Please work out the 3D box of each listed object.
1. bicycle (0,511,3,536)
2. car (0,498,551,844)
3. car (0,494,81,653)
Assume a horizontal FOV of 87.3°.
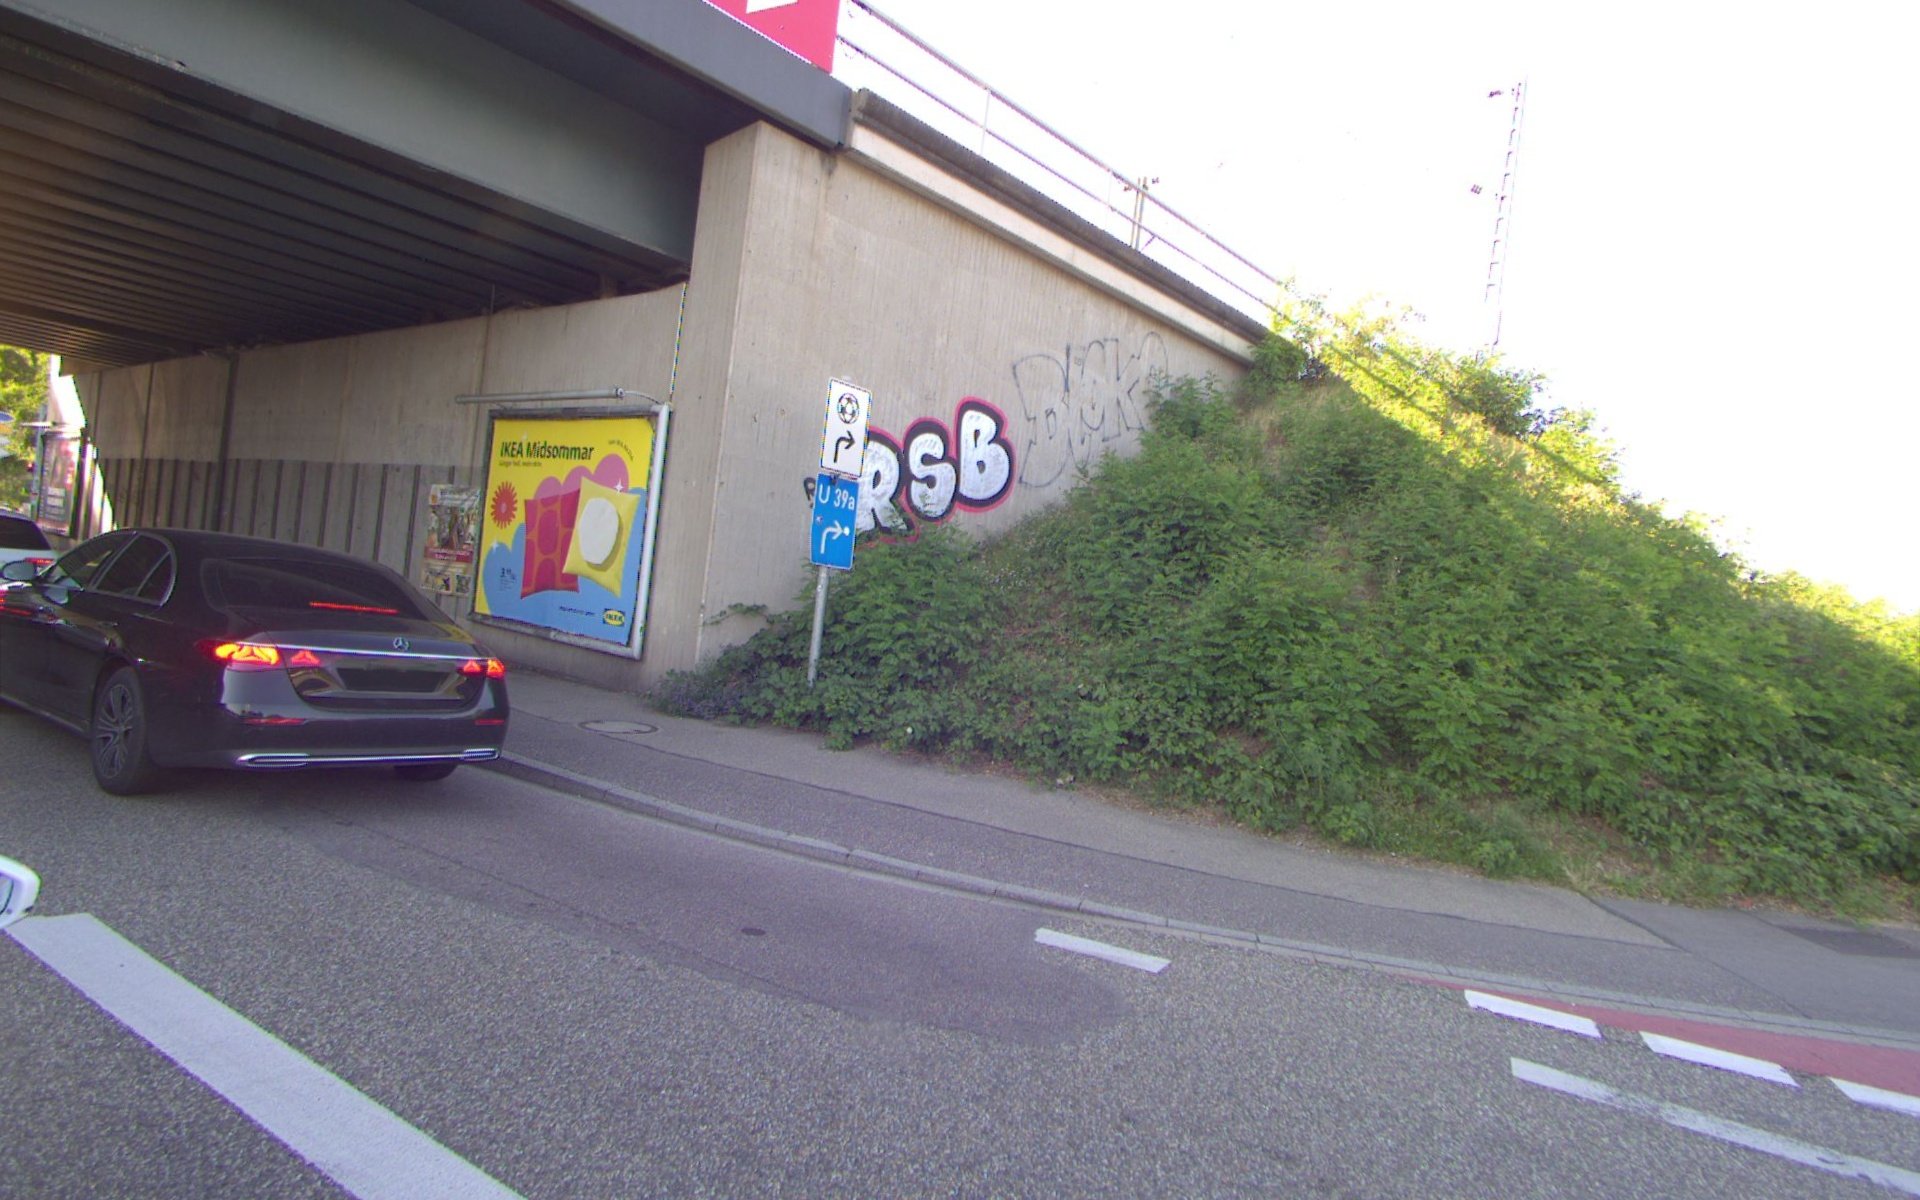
[{"bbox_3d":[-25.165,-1.849,25.693,2.844,0.975,0.578,5,-1,38],"label":"bicycle"},{"bbox_3d":[-4.985,0.267,6.742,4.530,1.472,1.743,7,-1,33],"label":"car"},{"bbox_3d":[-10.930,-0.413,10.461,3.772,1.514,1.772,5,0,35],"label":"car"}]
